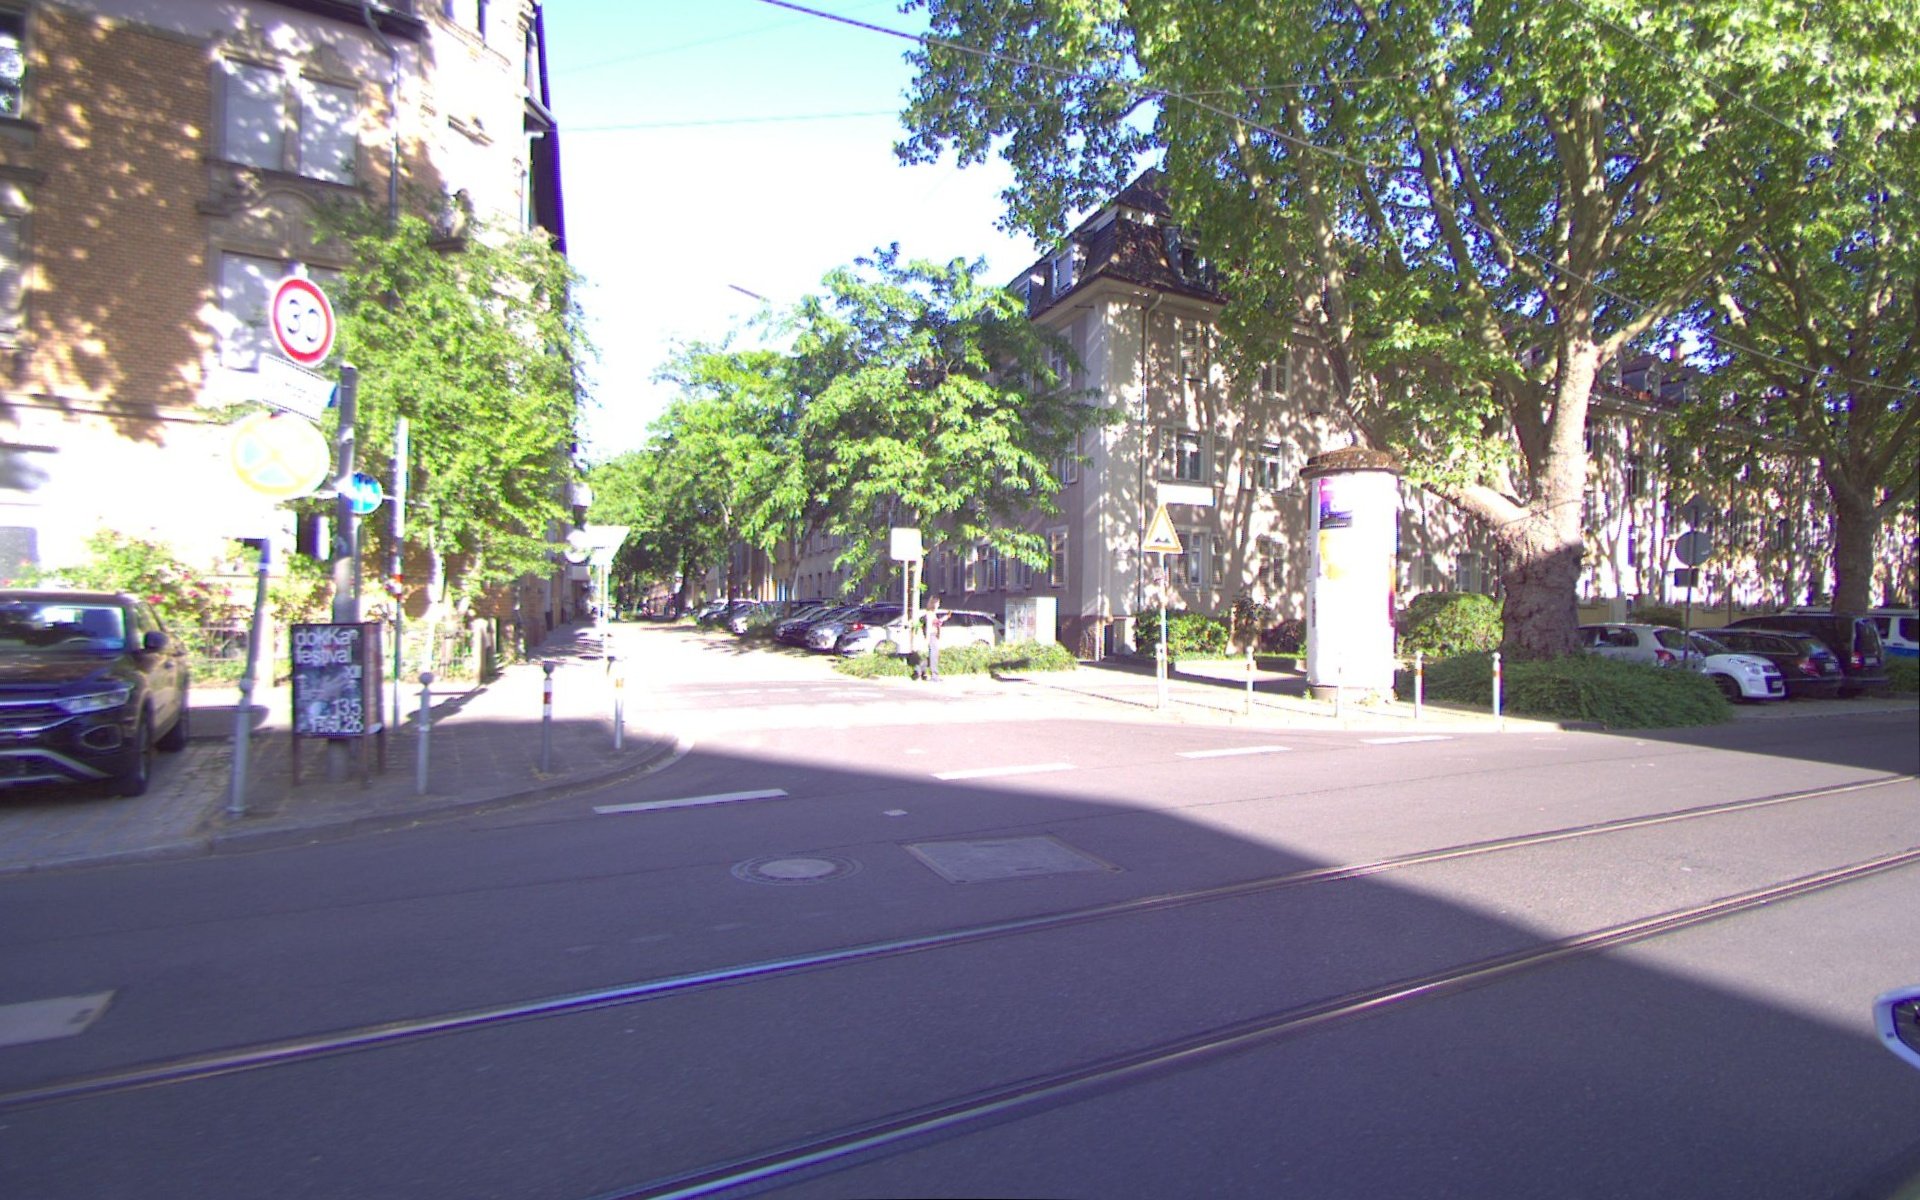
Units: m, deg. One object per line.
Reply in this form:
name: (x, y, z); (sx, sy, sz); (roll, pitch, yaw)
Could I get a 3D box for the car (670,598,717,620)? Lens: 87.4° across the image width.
car: (-20.160, 0.676, 76.030); (3.299, 1.539, 1.475); (1, 0, -22)

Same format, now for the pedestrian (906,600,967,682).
pedestrian: (-0.481, 0.805, 20.282); (1.008, 1.598, 1.093); (2, 0, -12)

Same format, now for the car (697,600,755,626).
car: (-14.330, 0.797, 61.495); (3.299, 1.539, 1.475); (1, 0, -22)

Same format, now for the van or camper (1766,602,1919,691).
van or camper: (24.432, 1.185, 26.288); (2.096, 2.219, 4.792); (1, 0, -33)

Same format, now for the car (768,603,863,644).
car: (-5.482, 0.875, 38.030); (3.299, 1.481, 1.475); (1, 0, -22)

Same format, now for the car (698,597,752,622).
car: (-15.473, 0.619, 66.203); (3.299, 1.600, 1.475); (1, 0, -22)

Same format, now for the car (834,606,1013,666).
car: (-0.981, 0.967, 27.213); (4.543, 1.516, 1.699); (1, 0, -22)

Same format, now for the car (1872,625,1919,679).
car: (29.668, 1.590, 29.718); (1.592, 1.586, 3.669); (1, 0, -26)

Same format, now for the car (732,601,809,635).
car: (-8.802, 0.829, 46.584); (3.299, 1.539, 1.475); (1, 0, -22)

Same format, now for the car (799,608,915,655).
car: (-3.215, 0.981, 31.250); (3.299, 1.410, 1.475); (1, 0, -22)

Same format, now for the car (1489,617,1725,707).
car: (12.836, 1.159, 20.158); (1.680, 1.574, 3.673); (1, 0, -24)

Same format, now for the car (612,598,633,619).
car: (-26.731, 0.664, 79.481); (1.460, 1.539, 3.050); (1, 0, -20)

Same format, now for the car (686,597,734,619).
car: (-18.557, 0.594, 74.661); (3.299, 1.539, 1.475); (1, 0, -22)

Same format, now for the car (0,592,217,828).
car: (-7.493, 0.705, 8.163); (1.903, 1.535, 4.139); (0, 0, -31)

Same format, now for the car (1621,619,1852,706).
car: (16.954, 1.292, 22.079); (1.781, 1.646, 3.659); (1, 0, -34)

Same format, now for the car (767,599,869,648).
car: (-5.023, 0.827, 35.562); (3.299, 1.686, 1.475); (1, 0, -22)

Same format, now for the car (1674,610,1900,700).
car: (18.929, 1.190, 23.144); (1.684, 1.839, 3.665); (1, 0, -30)

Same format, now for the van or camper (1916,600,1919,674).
van or camper: (35.362, 1.290, 32.922); (2.414, 2.549, 5.368); (1, 0, -27)

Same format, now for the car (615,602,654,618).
car: (-29.451, 0.922, 90.850); (3.297, 1.418, 1.476); (1, 0, -21)

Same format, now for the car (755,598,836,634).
car: (-7.295, 0.695, 44.520); (3.299, 1.539, 1.475); (1, 0, -22)

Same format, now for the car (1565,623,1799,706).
car: (15.062, 1.275, 21.123); (1.685, 1.505, 3.657); (1, 0, -36)
